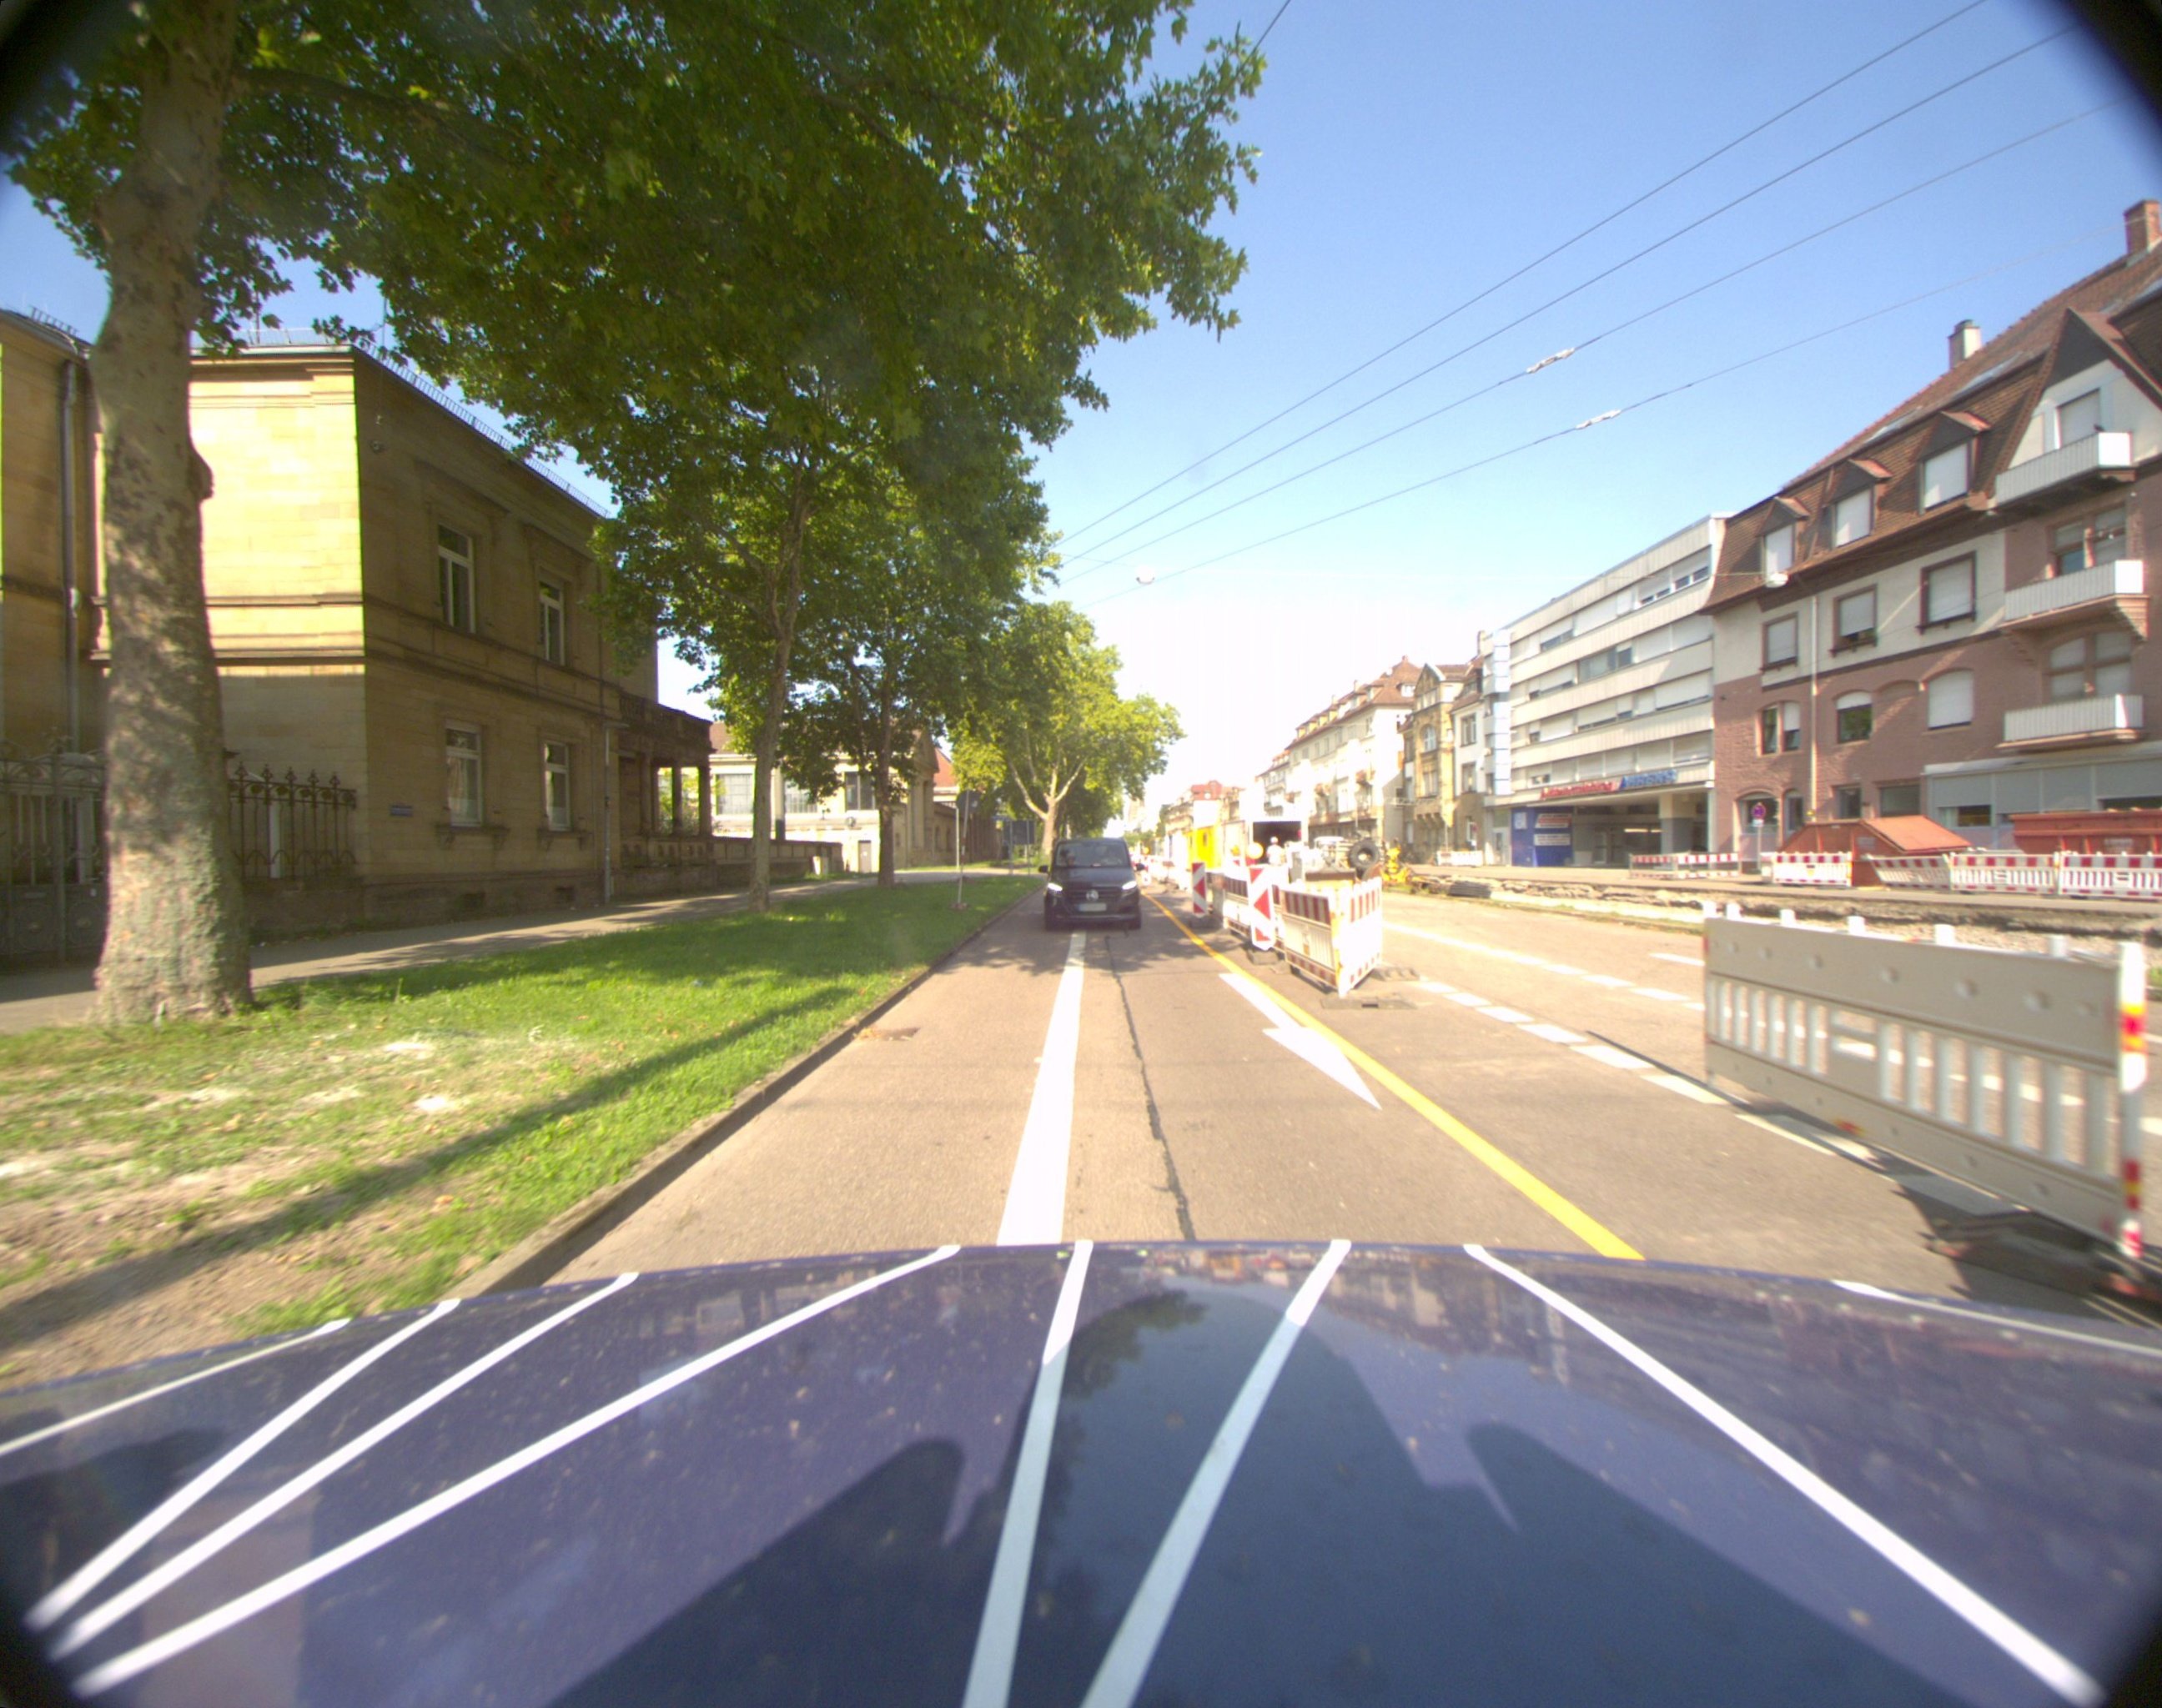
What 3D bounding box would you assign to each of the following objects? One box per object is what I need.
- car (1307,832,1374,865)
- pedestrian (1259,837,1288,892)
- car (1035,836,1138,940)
[{"bbox_3d":[18.312,-0.417,54.047,2.366,2.122,7.121,-1,1,0],"label":"car"},{"bbox_3d":[6.323,0.352,24.985,0.803,1.787,0.596,0,1,1],"label":"pedestrian"},{"bbox_3d":[0.136,0.606,16.229,1.853,1.875,4.178,-2,1,1],"label":"car"}]
